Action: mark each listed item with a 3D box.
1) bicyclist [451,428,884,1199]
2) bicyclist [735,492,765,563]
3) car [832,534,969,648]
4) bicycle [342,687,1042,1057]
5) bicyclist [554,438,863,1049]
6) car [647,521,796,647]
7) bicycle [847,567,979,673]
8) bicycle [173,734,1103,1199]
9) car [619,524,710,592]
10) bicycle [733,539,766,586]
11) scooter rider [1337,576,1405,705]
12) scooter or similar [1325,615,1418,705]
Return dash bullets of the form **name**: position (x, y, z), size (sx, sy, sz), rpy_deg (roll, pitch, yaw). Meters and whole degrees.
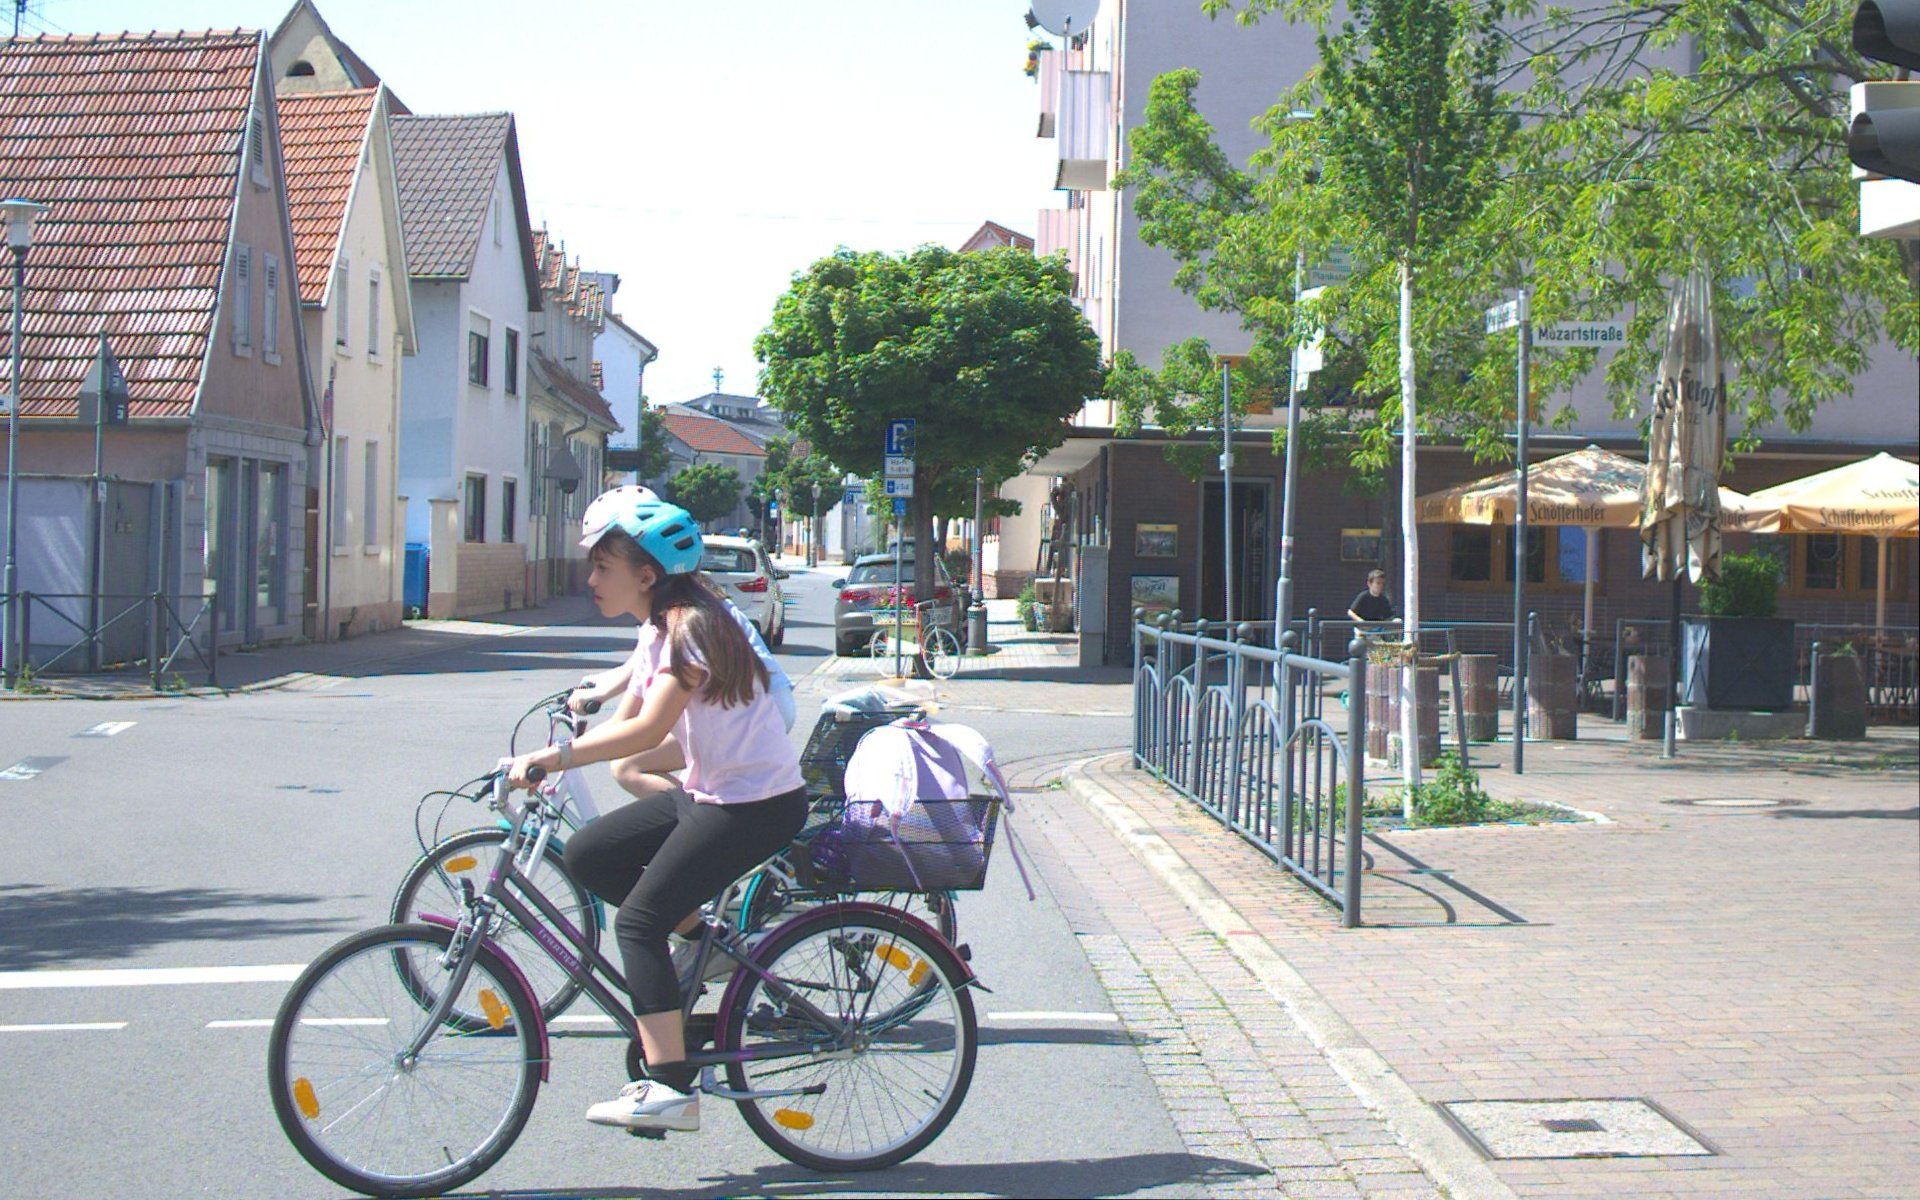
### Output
- **bicyclist**: position (-0.648, 0.425, 7.488), size (0.759, 1.576, 0.671), rpy_deg (-2, 2, -20)
- **bicyclist**: position (-4.973, -1.721, 81.515), size (0.669, 1.685, 0.761), rpy_deg (0, 1, -1)
- **car**: position (-0.809, -0.167, 49.071), size (1.805, 1.496, 4.000), rpy_deg (1, 1, 1)
- **bicycle**: position (-0.725, 0.752, 9.701), size (1.890, 0.954, 0.676), rpy_deg (-1, 1, 2)
- **bicyclist**: position (-0.694, 0.385, 9.692), size (0.759, 1.658, 0.671), rpy_deg (-1, 1, 4)
- **car**: position (-3.422, -0.266, 49.967), size (1.834, 1.646, 4.000), rpy_deg (3, 2, 0)
- **bicycle**: position (-0.561, 0.225, 40.303), size (0.525, 1.189, 1.674), rpy_deg (0, 1, -44)
- **bicycle**: position (-0.697, 0.825, 7.477), size (1.889, 0.954, 0.676), rpy_deg (-1, 2, -20)
- **car**: position (-6.833, -0.986, 79.810), size (1.714, 1.512, 3.786), rpy_deg (1, 1, 1)
- **bicycle**: position (-4.978, -0.902, 81.468), size (0.674, 1.090, 1.896), rpy_deg (0, 1, -1)
- **scooter rider**: position (4.131, 0.404, 34.565), size (0.516, 1.281, 0.418), rpy_deg (1, 1, -41)
- **scooter or similar**: position (4.135, 0.601, 34.563), size (0.379, 0.870, 0.890), rpy_deg (0, 1, -41)
